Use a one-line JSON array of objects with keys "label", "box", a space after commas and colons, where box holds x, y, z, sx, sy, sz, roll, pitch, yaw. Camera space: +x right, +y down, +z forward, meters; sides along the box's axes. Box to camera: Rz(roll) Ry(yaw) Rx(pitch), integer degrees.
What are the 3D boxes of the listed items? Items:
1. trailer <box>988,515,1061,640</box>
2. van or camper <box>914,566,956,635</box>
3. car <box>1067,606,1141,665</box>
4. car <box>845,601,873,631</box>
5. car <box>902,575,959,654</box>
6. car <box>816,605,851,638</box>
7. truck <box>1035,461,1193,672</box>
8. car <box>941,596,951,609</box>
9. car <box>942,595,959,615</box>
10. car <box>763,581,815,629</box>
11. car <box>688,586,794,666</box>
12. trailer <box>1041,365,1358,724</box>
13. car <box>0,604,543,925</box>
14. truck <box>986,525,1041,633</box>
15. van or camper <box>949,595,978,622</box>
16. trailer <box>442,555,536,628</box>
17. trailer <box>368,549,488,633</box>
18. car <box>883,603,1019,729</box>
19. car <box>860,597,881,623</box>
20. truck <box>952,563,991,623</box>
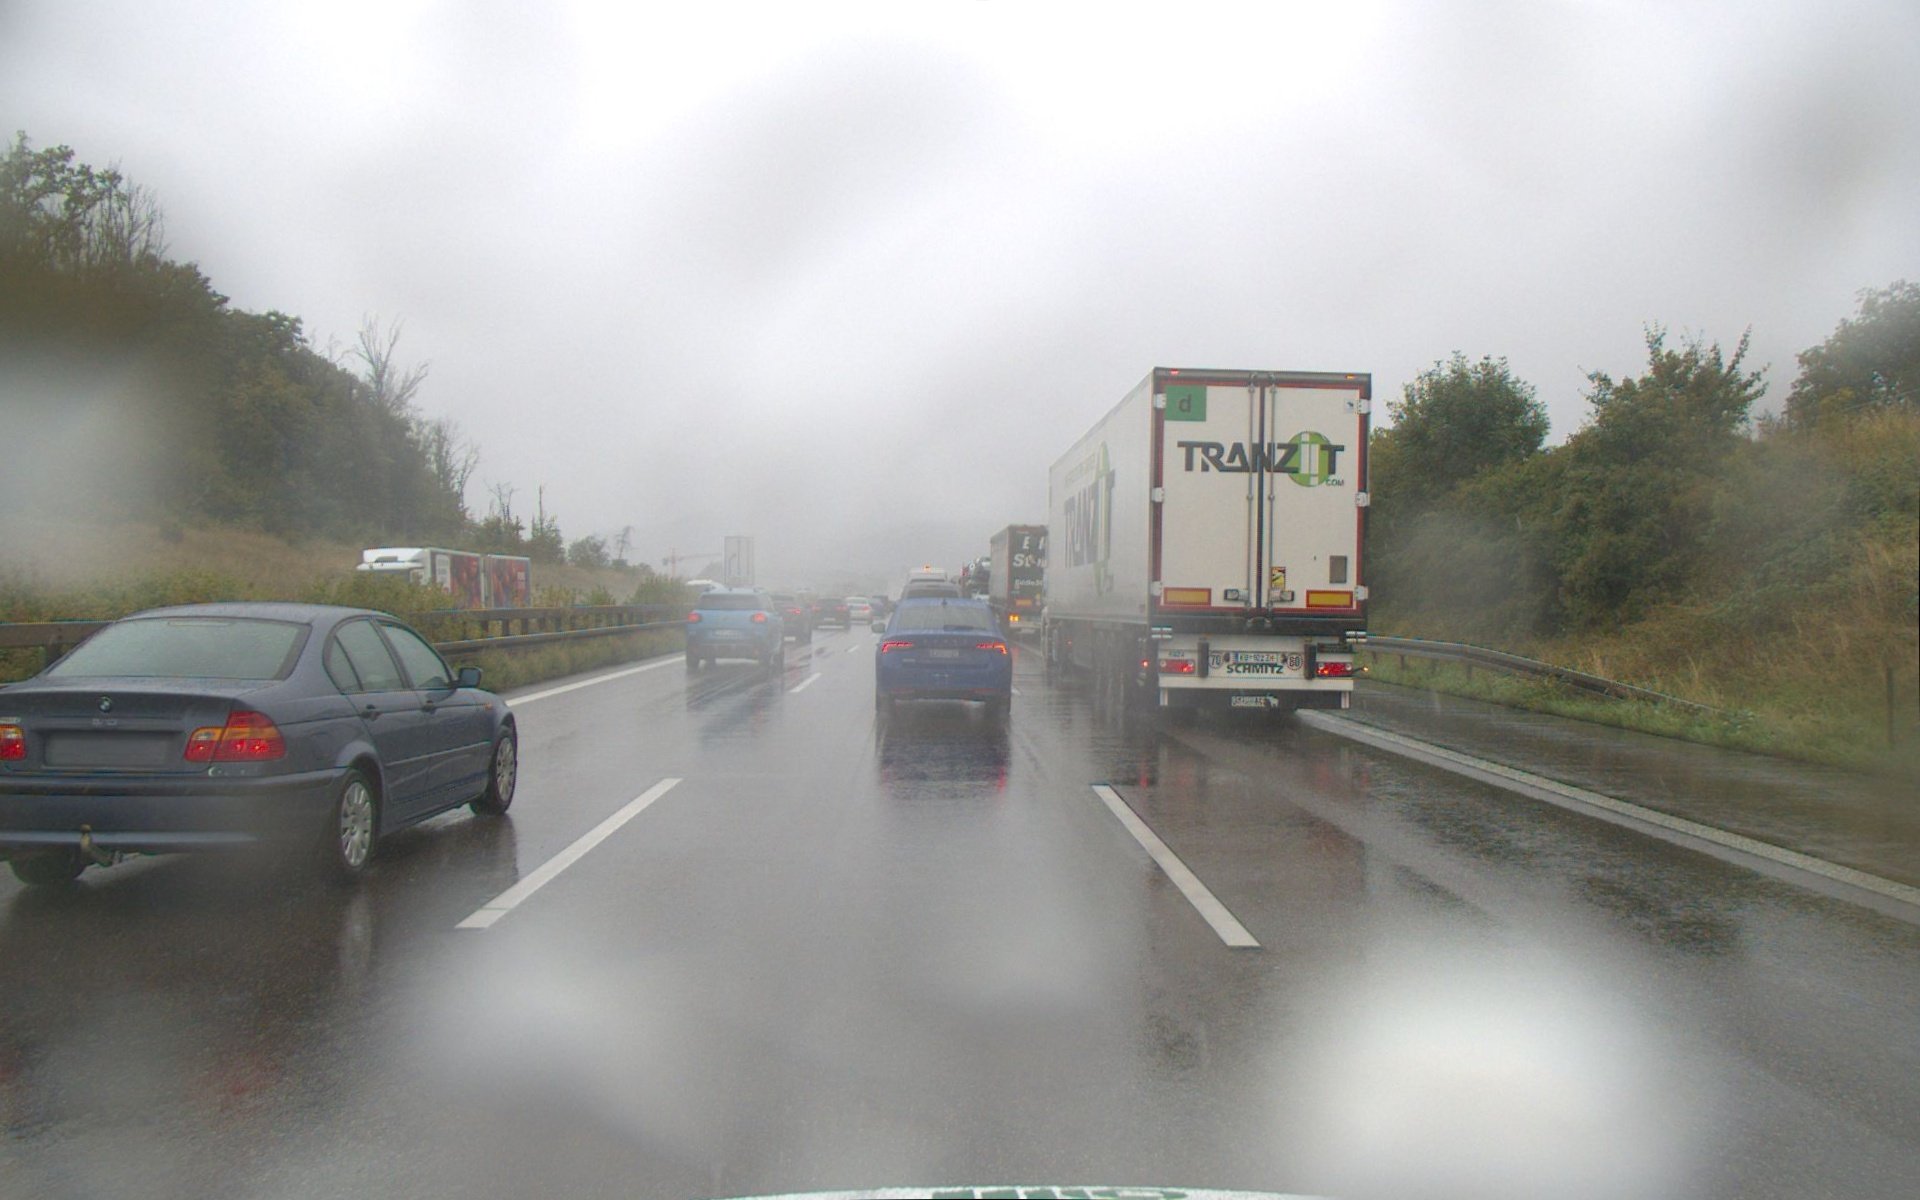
[{"label": "trailer", "box": [2.293, -0.810, 62.206, 2.005, 4.250, 11.445, 0, 0, -1]}, {"label": "van or camper", "box": [-1.099, 0.015, 71.425, 1.761, 2.855, 4.766, 0, 0, -1]}, {"label": "car", "box": [3.418, 0.819, 39.663, 1.395, 1.310, 3.460, 0, 0, -1]}, {"label": "car", "box": [-5.561, 0.871, 91.557, 1.410, 1.560, 3.321, 0, 0, -1]}, {"label": "car", "box": [-0.713, 0.334, 39.697, 1.309, 1.811, 3.321, 0, 0, -1]}, {"label": "car", "box": [-5.707, 0.953, 74.793, 1.410, 1.445, 3.321, 0, 0, -1]}, {"label": "truck", "box": [2.961, -0.629, 32.964, 2.577, 3.894, 4.790, 0, 0, -1]}, {"label": "car", "box": [-2.043, 0.376, 236.134, 1.419, 1.815, 3.408, 1, 0, -1]}, {"label": "car", "box": [-0.853, 0.442, 147.898, 1.419, 1.815, 3.408, 1, 0, -1]}, {"label": "car", "box": [-5.289, 0.138, 51.387, 1.331, 1.456, 3.363, 0, 0, -1]}, {"label": "car", "box": [-4.488, 0.509, 34.412, 1.686, 1.550, 4.000, 0, 0, 0]}, {"label": "trailer", "box": [3.110, -0.673, 26.259, 2.577, 4.083, 14.625, 0, 0, -1]}, {"label": "car", "box": [-3.791, 0.745, 9.551, 1.683, 1.424, 4.230, 0, 0, 0]}, {"label": "truck", "box": [2.173, -0.850, 67.904, 2.005, 4.266, 3.999, 0, 0, -1]}, {"label": "van or camper", "box": [0.209, 0.548, 109.863, 1.736, 1.653, 4.483, 0, 1, -2]}, {"label": "trailer", "box": [-21.542, -0.377, 76.043, 1.953, 3.136, 8.869, 1, 0, -1]}, {"label": "trailer", "box": [-21.324, -0.345, 66.807, 1.953, 3.136, 9.552, 1, 0, -1]}, {"label": "car", "box": [-0.123, 0.788, 21.666, 1.602, 1.470, 3.999, 0, 0, -1]}, {"label": "car", "box": [-6.608, 0.739, 122.683, 1.419, 1.815, 3.408, 1, 0, -1]}, {"label": "truck", "box": [0.627, -0.448, 100.140, 1.953, 3.481, 8.028, 0, 1, -2]}]
